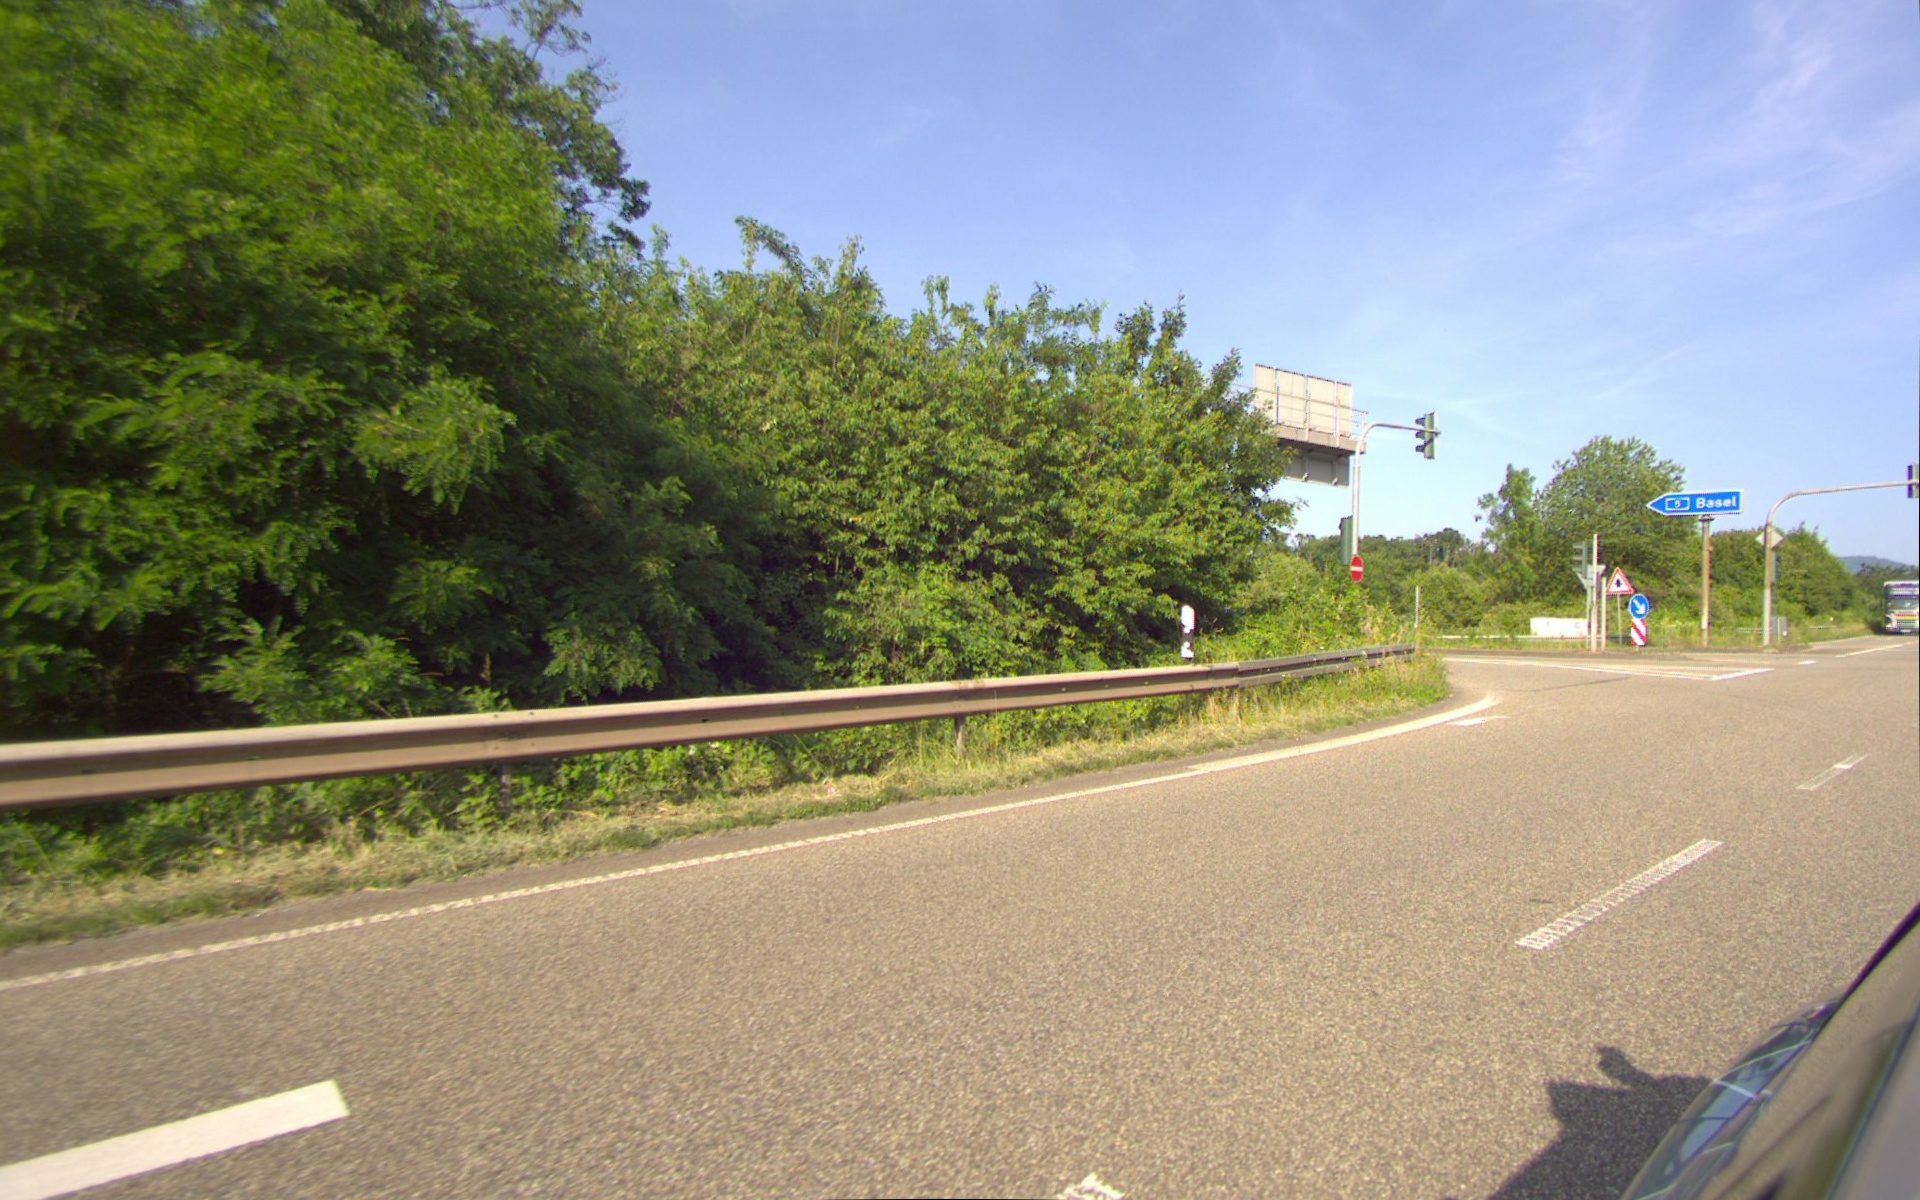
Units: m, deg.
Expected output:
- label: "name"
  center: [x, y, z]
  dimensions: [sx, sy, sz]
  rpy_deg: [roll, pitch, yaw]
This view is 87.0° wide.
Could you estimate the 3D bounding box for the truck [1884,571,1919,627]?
- label: "truck"
  center: [74.095, -0.031, 78.024]
  dimensions: [14.320, 4.071, 3.191]
  rpy_deg: [1, -2, -44]
